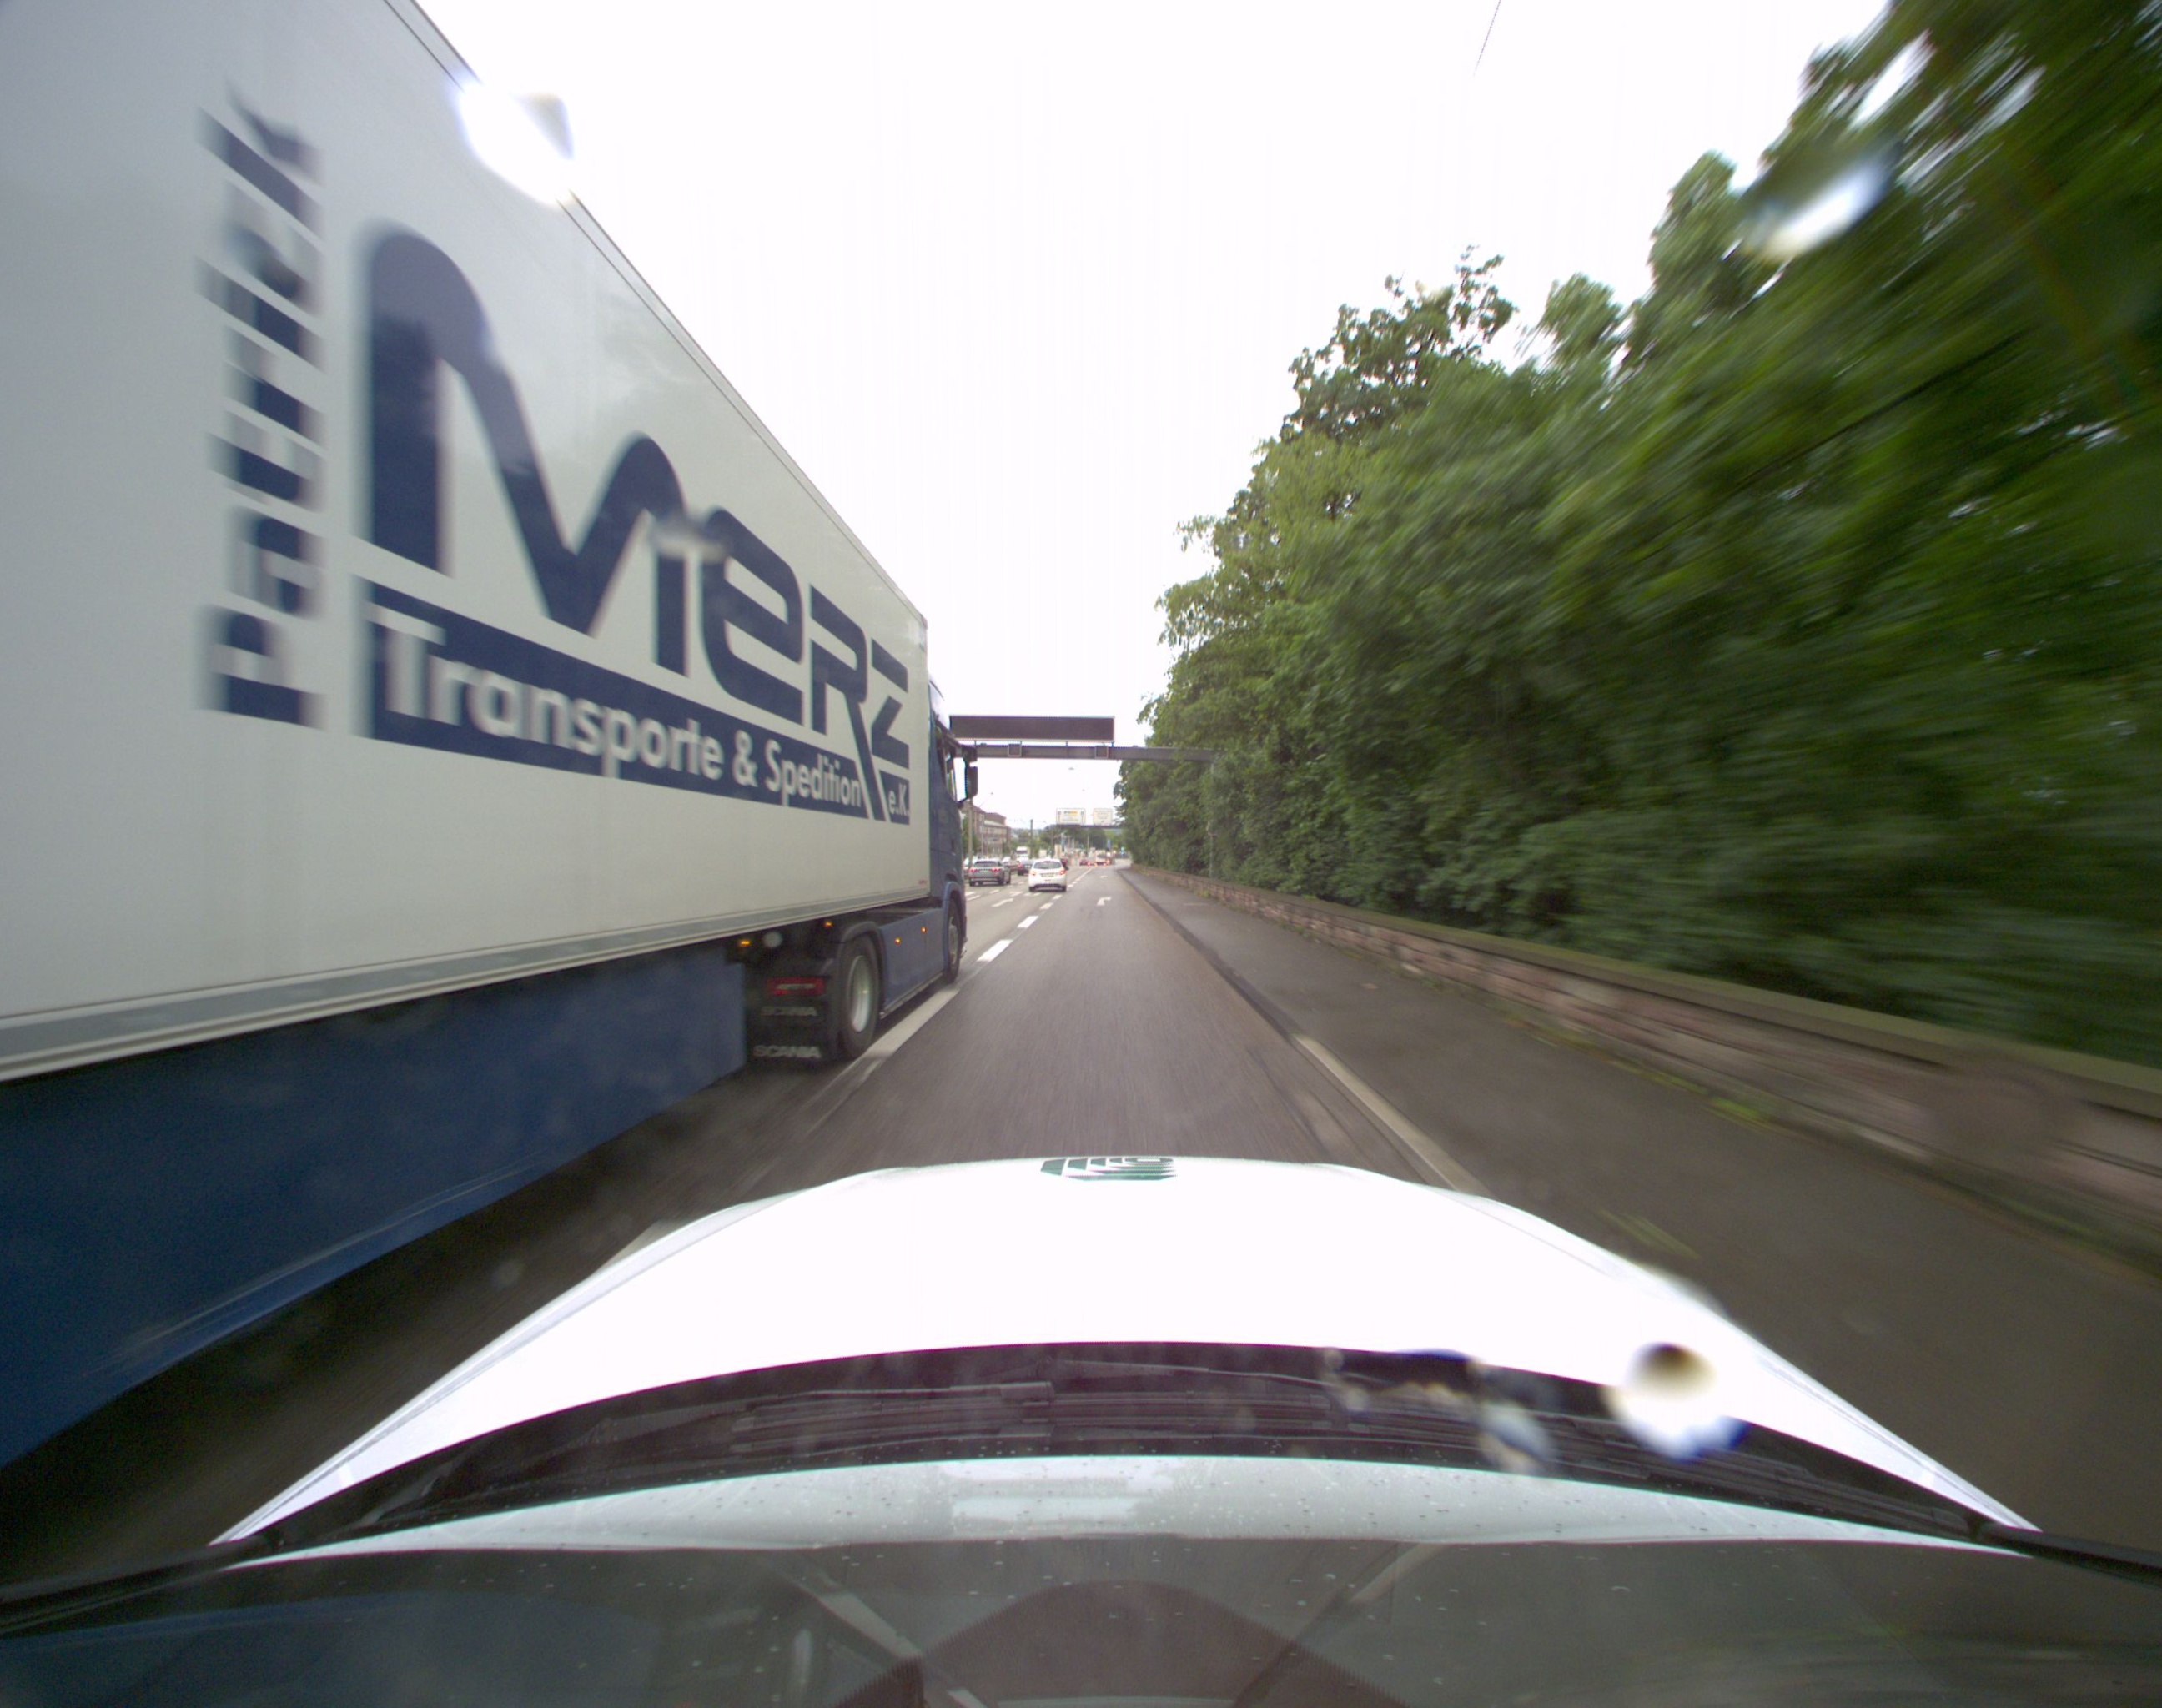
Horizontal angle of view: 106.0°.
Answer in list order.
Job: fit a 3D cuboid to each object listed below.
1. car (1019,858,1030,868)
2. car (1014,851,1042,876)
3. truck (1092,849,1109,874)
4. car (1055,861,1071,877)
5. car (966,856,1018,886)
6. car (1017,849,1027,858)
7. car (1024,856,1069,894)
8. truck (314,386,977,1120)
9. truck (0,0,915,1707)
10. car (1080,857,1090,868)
[{"bbox_3d":[-12.442,1.999,178.782,1.986,2.014,4.000,1,-3,1],"label":"car"},{"bbox_3d":[-4.472,0.773,69.533,1.712,1.891,3.544,0,3,8],"label":"car"},{"bbox_3d":[4.884,1.857,199.726,3.449,5.402,12.060,1,-3,4],"label":"truck"},{"bbox_3d":[-2.440,2.051,110.263,1.986,2.014,4.000,1,-3,1],"label":"car"},{"bbox_3d":[-4.895,0.910,45.296,1.810,1.565,4.103,-2,0,10],"label":"car"},{"bbox_3d":[-15.077,-0.199,207.844,1.986,2.014,4.000,1,-3,1],"label":"car"},{"bbox_3d":[-1.599,0.930,37.723,1.950,1.487,3.997,2,2,-2],"label":"car"},{"bbox_3d":[-2.955,-0.594,8.091,2.752,4.197,6.786,-1,0,1],"label":"truck"},{"bbox_3d":[-3.132,-0.677,1.216,2.752,4.197,13.034,-1,0,1],"label":"truck"},{"bbox_3d":[0.815,1.818,174.263,1.986,2.014,4.000,1,-3,1],"label":"car"}]
